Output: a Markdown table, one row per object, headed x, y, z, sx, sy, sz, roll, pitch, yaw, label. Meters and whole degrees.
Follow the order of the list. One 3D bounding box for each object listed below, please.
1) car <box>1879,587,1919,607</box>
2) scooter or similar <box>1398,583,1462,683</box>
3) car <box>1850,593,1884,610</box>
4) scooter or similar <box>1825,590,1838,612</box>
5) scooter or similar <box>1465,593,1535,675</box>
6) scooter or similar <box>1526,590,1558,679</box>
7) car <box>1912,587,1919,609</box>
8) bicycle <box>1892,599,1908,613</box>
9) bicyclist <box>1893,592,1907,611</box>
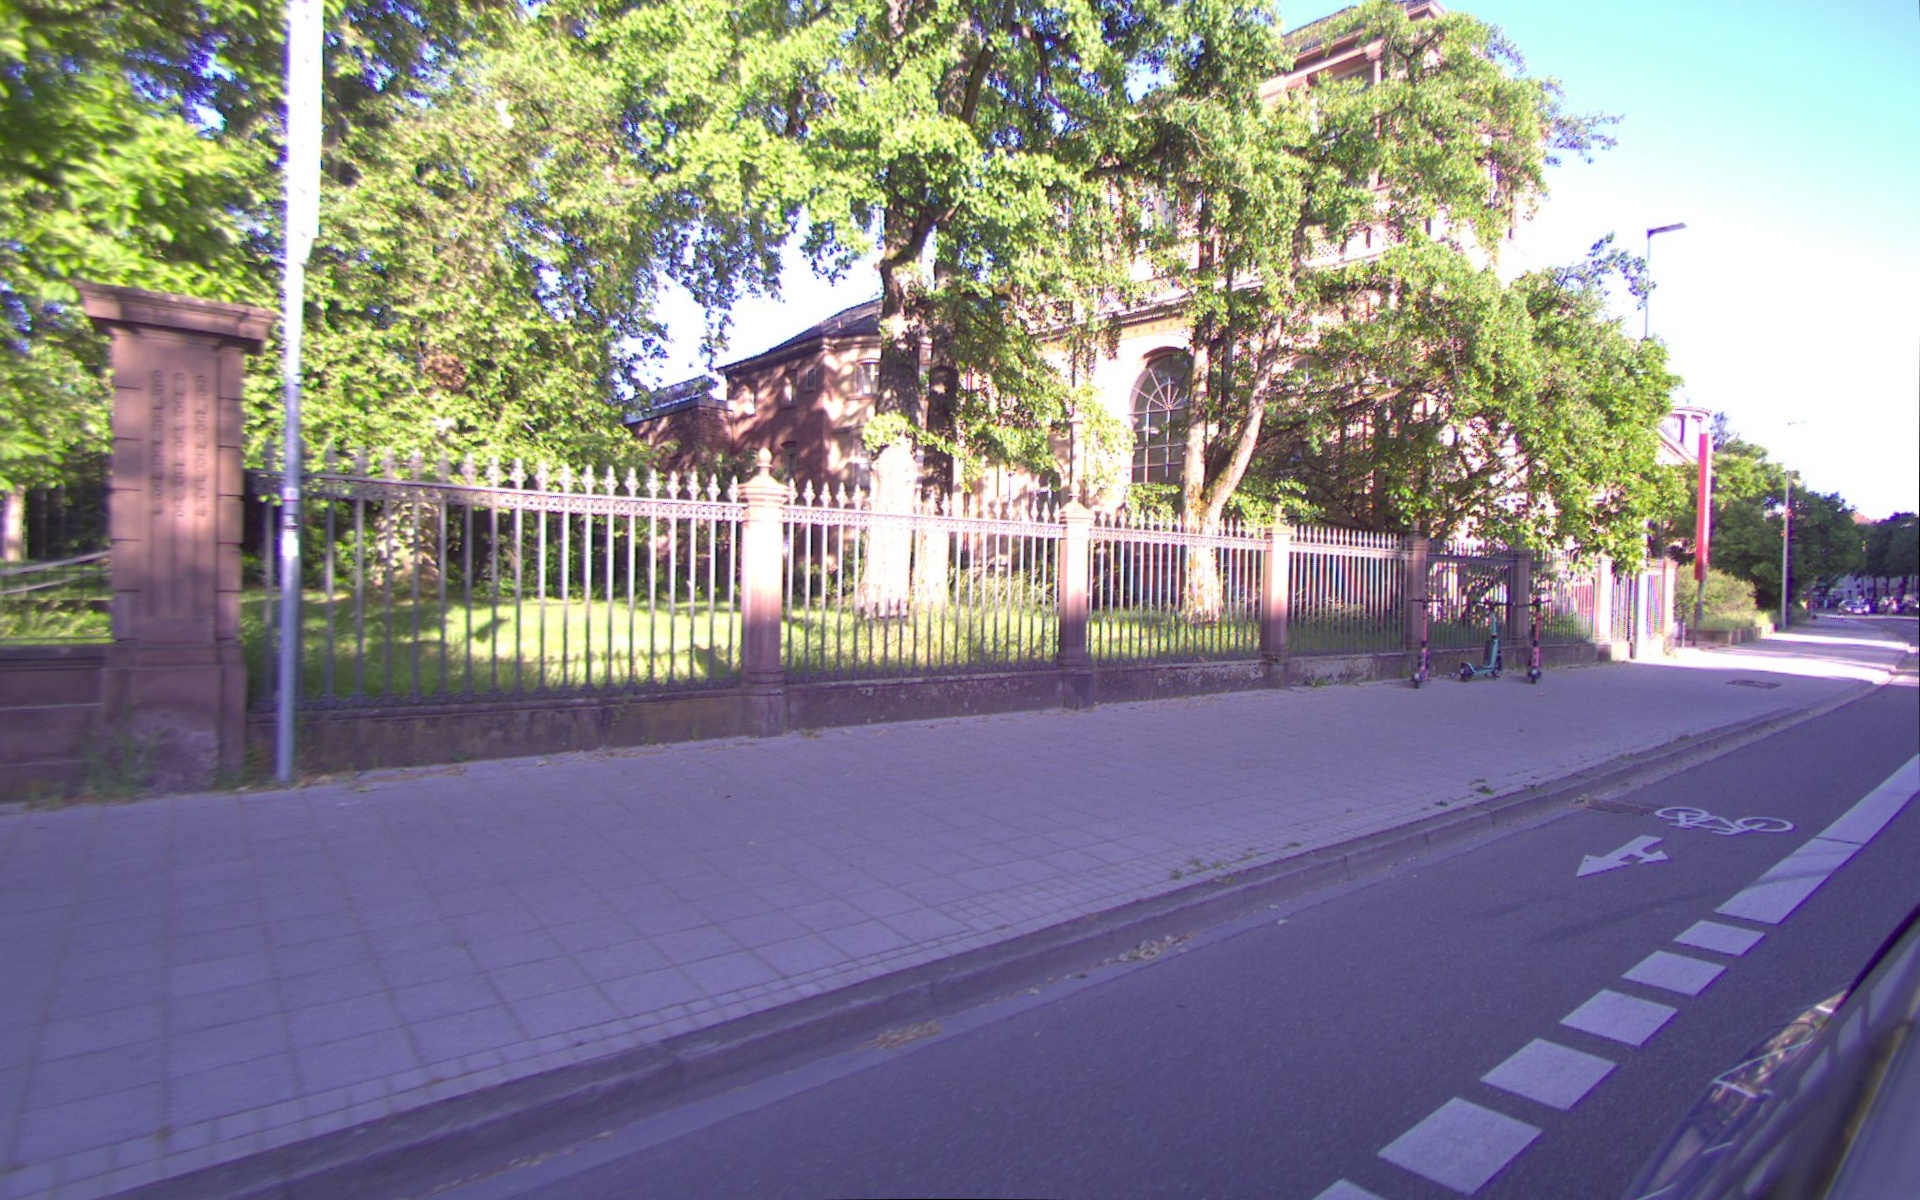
| x | y | z | sx | sy | sz | roll | pitch | yaw | label |
| --- | --- | --- | --- | --- | --- | --- | --- | --- | --- |
| 90.650 | -0.299 | 97.651 | 1.982 | 1.771 | 4.694 | 3 | 2 | 31 | car |
| 6.388 | 0.411 | 13.723 | 0.545 | 1.258 | 1.540 | 3 | 2 | 33 | scooter or similar |
| 80.384 | 0.112 | 89.694 | 1.544 | 1.311 | 3.596 | 6 | 4 | 32 | car |
| 53.846 | 0.069 | 62.513 | 0.555 | 1.325 | 1.804 | 3 | 2 | 42 | scooter or similar |
| 7.917 | 0.470 | 14.812 | 1.314 | 1.136 | 0.481 | 0 | 3 | -44 | scooter or similar |
| 8.721 | 0.495 | 15.162 | 0.296 | 1.255 | 1.147 | 3 | 2 | 34 | scooter or similar |
| 85.846 | -0.138 | 89.122 | 2.060 | 1.939 | 4.974 | 3 | 2 | 33 | car |
| 82.935 | 0.511 | 89.276 | 0.826 | 1.157 | 1.944 | 1 | 1 | 36 | bicycle |
| 83.020 | 0.089 | 89.385 | 0.801 | 1.628 | 0.814 | 3 | 2 | 37 | bicyclist |
